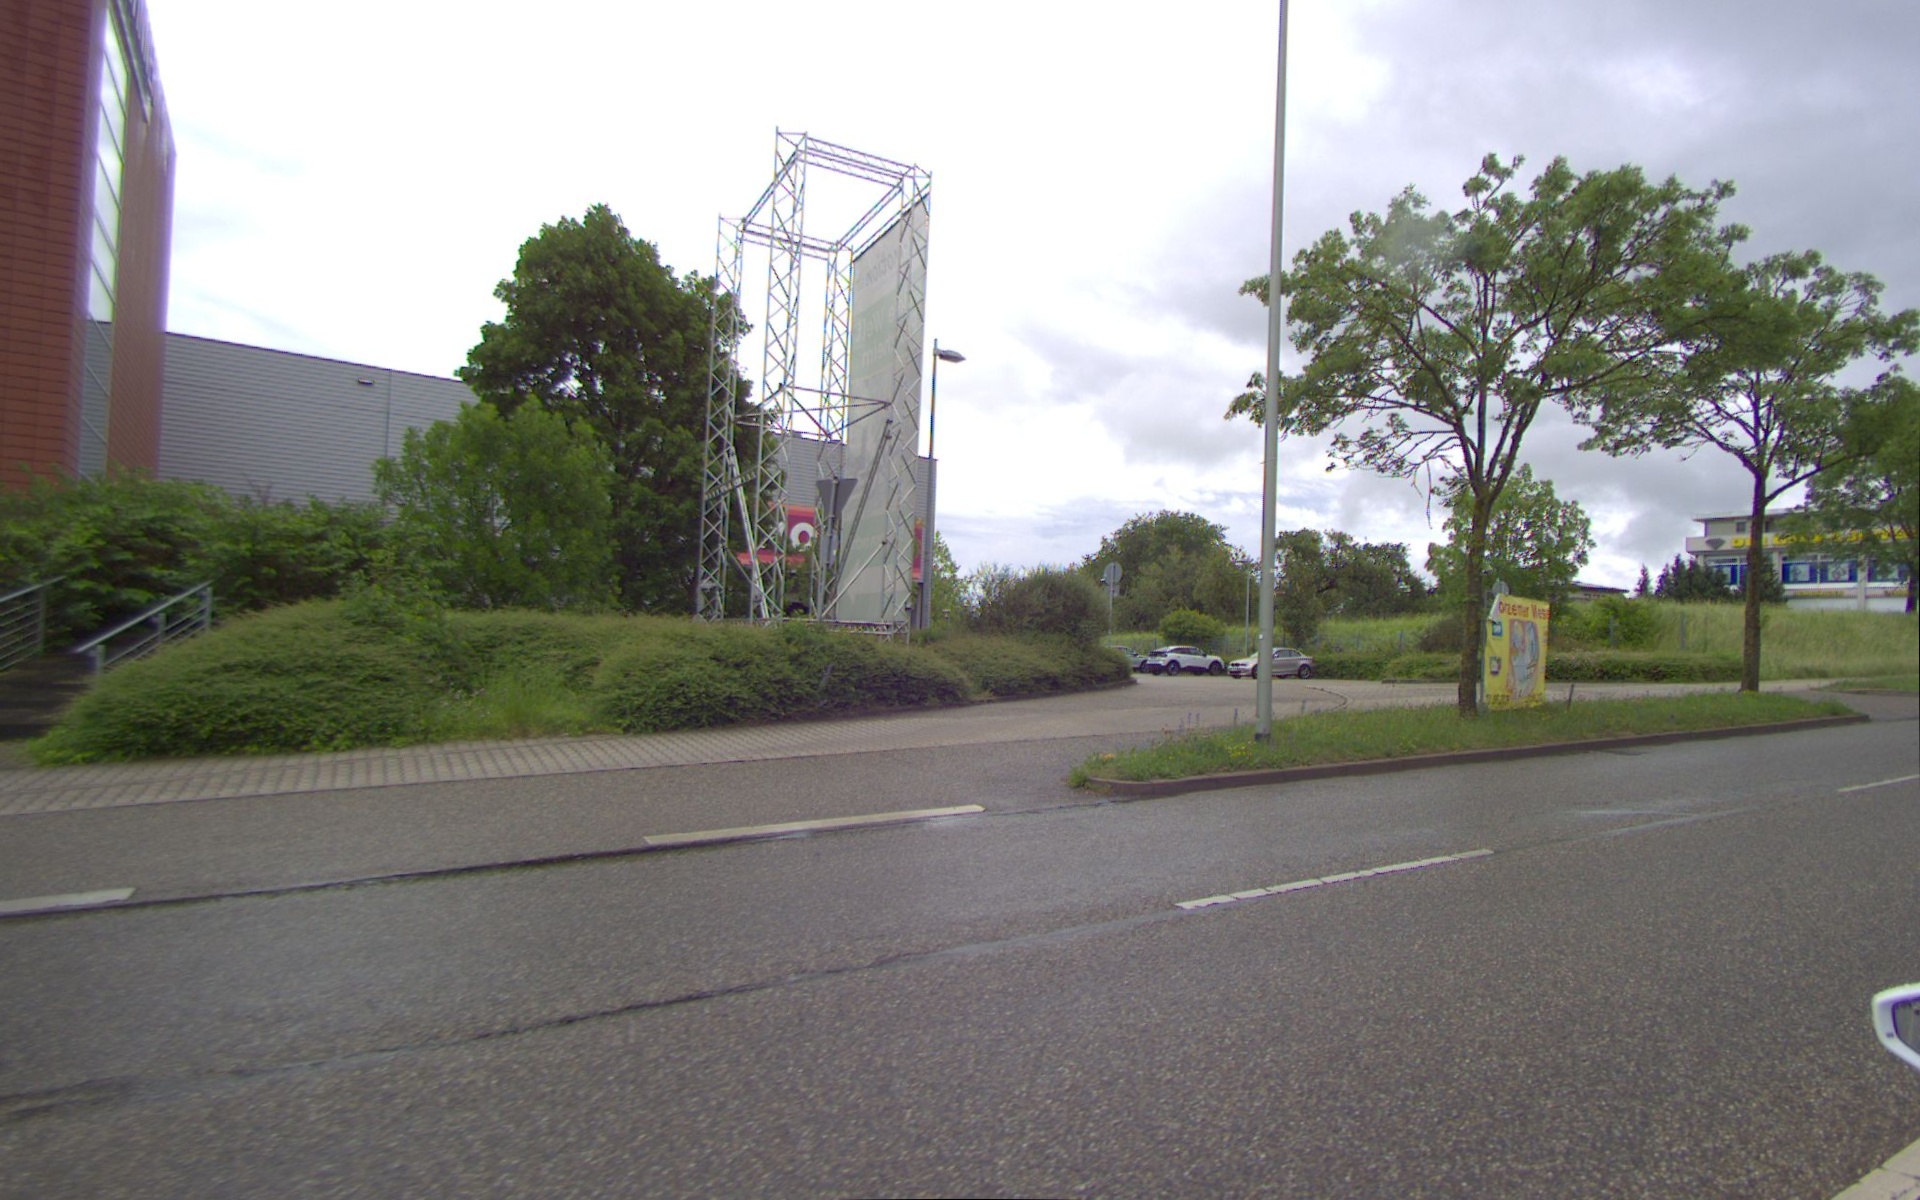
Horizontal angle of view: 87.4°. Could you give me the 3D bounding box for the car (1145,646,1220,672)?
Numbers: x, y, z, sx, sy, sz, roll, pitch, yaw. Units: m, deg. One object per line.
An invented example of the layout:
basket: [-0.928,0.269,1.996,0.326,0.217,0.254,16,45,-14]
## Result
car: [11.705,3.073,52.868,3.663,1.281,1.449,1,-1,-20]

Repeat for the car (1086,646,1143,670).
car: [9.222,3.464,60.089,3.095,1.387,1.449,1,-1,-20]

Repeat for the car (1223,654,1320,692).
car: [14.367,3.322,46.262,4.230,1.635,1.528,1,-1,-20]
